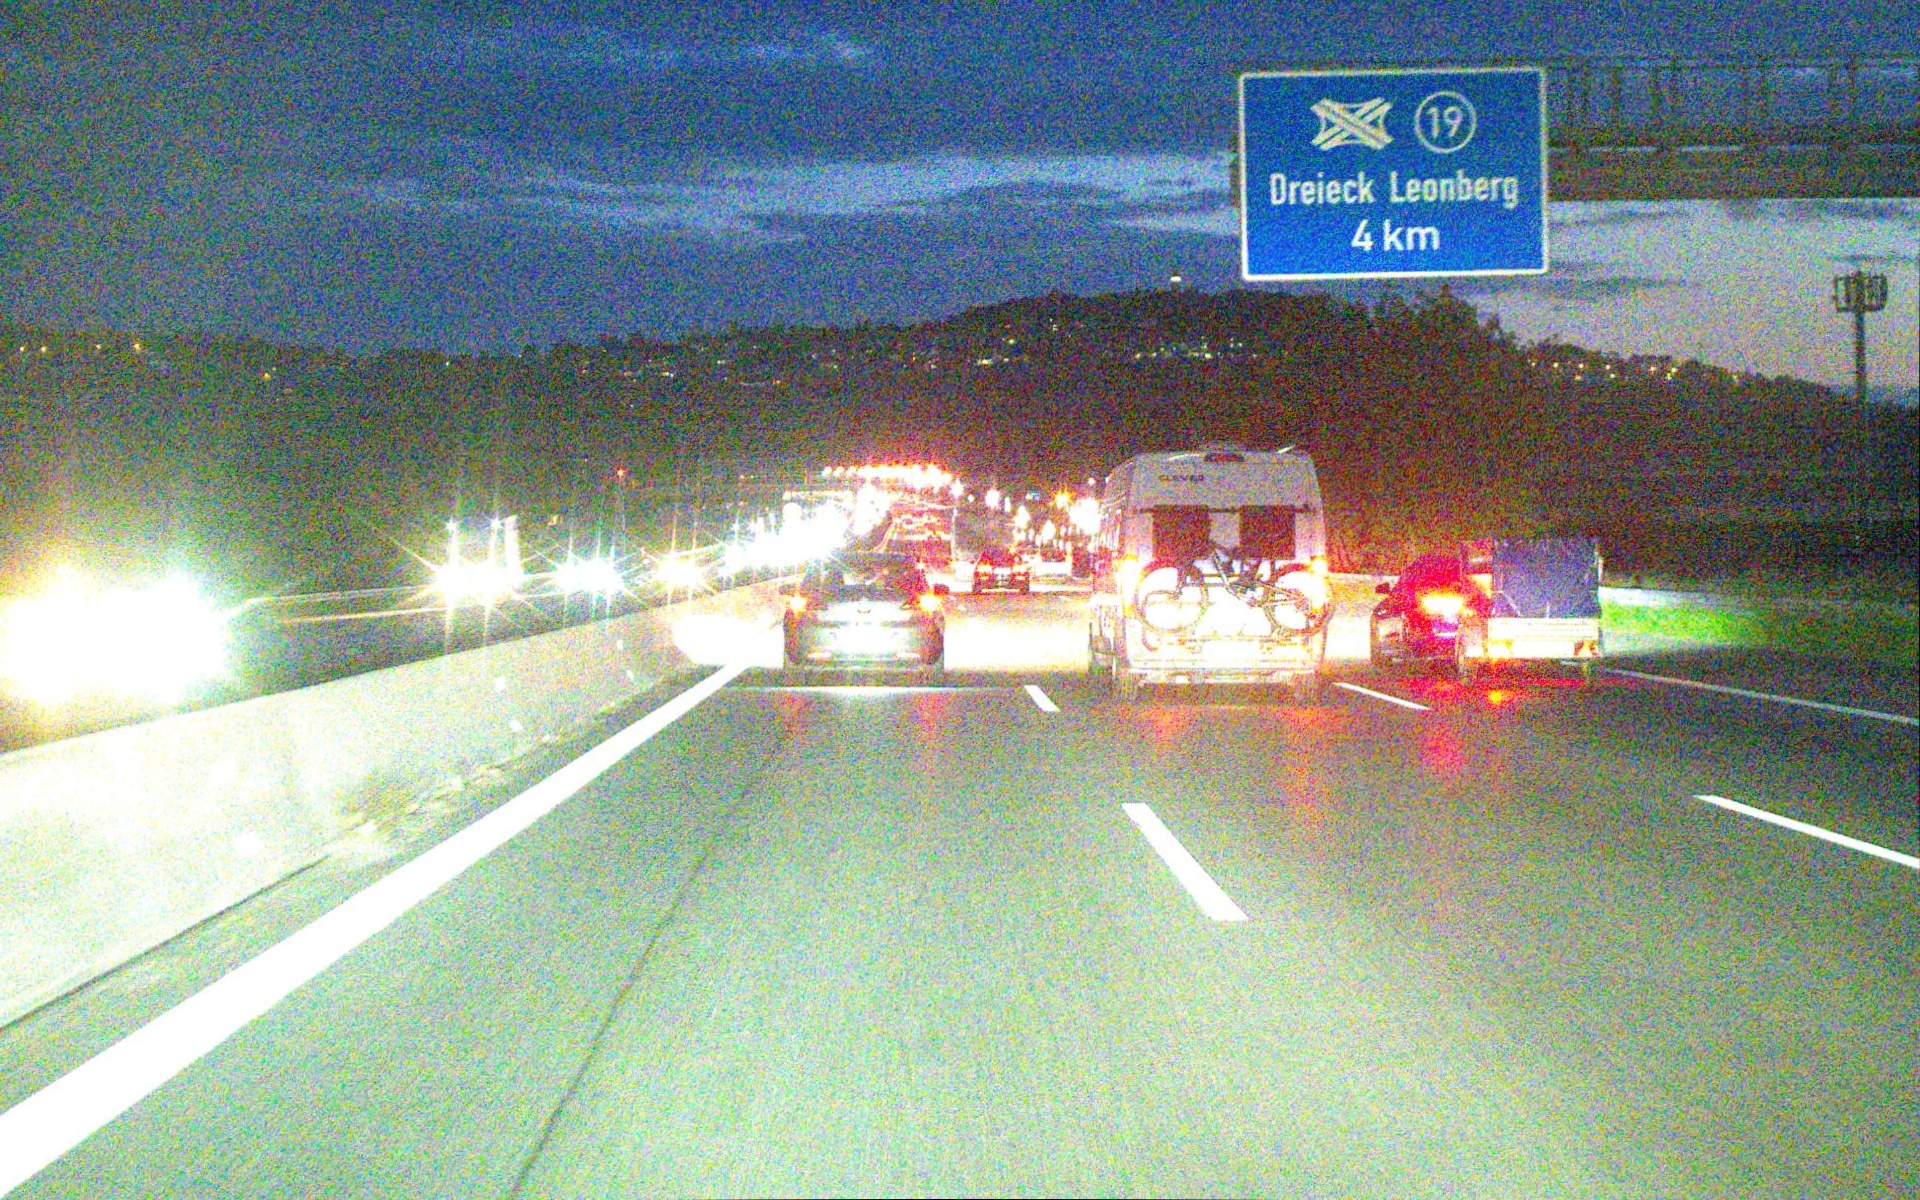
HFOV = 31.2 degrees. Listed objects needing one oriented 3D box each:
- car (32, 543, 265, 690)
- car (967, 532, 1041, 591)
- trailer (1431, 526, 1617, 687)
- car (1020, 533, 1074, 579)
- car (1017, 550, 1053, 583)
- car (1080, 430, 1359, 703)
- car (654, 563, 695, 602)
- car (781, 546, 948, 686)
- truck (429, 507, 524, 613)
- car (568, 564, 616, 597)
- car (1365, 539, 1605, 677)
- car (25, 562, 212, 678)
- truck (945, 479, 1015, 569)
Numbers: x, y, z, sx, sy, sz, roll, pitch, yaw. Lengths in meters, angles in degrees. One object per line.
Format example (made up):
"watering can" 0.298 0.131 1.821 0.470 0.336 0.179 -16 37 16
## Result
"car" -9.710 0.157 41.430 1.812 1.637 4.158 -1 1 0
"car" 1.461 -1.306 115.862 2.351 1.907 4.723 -1 1 0
"trailer" 6.182 0.044 37.908 1.566 1.687 2.821 -1 1 0
"car" 4.033 -2.060 160.287 2.351 2.068 4.723 -1 1 0
"car" 4.349 -1.953 199.705 1.993 1.941 4.000 0 1 -1
"car" 2.546 -0.389 35.251 2.351 2.526 5.701 -1 1 0
"car" -14.874 -0.911 179.226 1.773 1.961 4.000 -1 1 -1
"car" -1.037 0.142 38.838 1.793 1.464 3.773 0 1 0
"truck" -18.669 -1.553 133.159 2.781 3.942 7.994 -1 1 -2
"car" -18.450 -0.978 172.466 1.993 1.626 4.000 0 1 -1
"car" 6.275 0.053 41.614 2.163 1.558 4.723 0 1 0
"car" -12.760 0.273 52.368 1.812 1.637 4.158 -1 1 0
"truck" 0.860 -3.424 156.181 2.781 3.942 7.994 -1 1 -2
